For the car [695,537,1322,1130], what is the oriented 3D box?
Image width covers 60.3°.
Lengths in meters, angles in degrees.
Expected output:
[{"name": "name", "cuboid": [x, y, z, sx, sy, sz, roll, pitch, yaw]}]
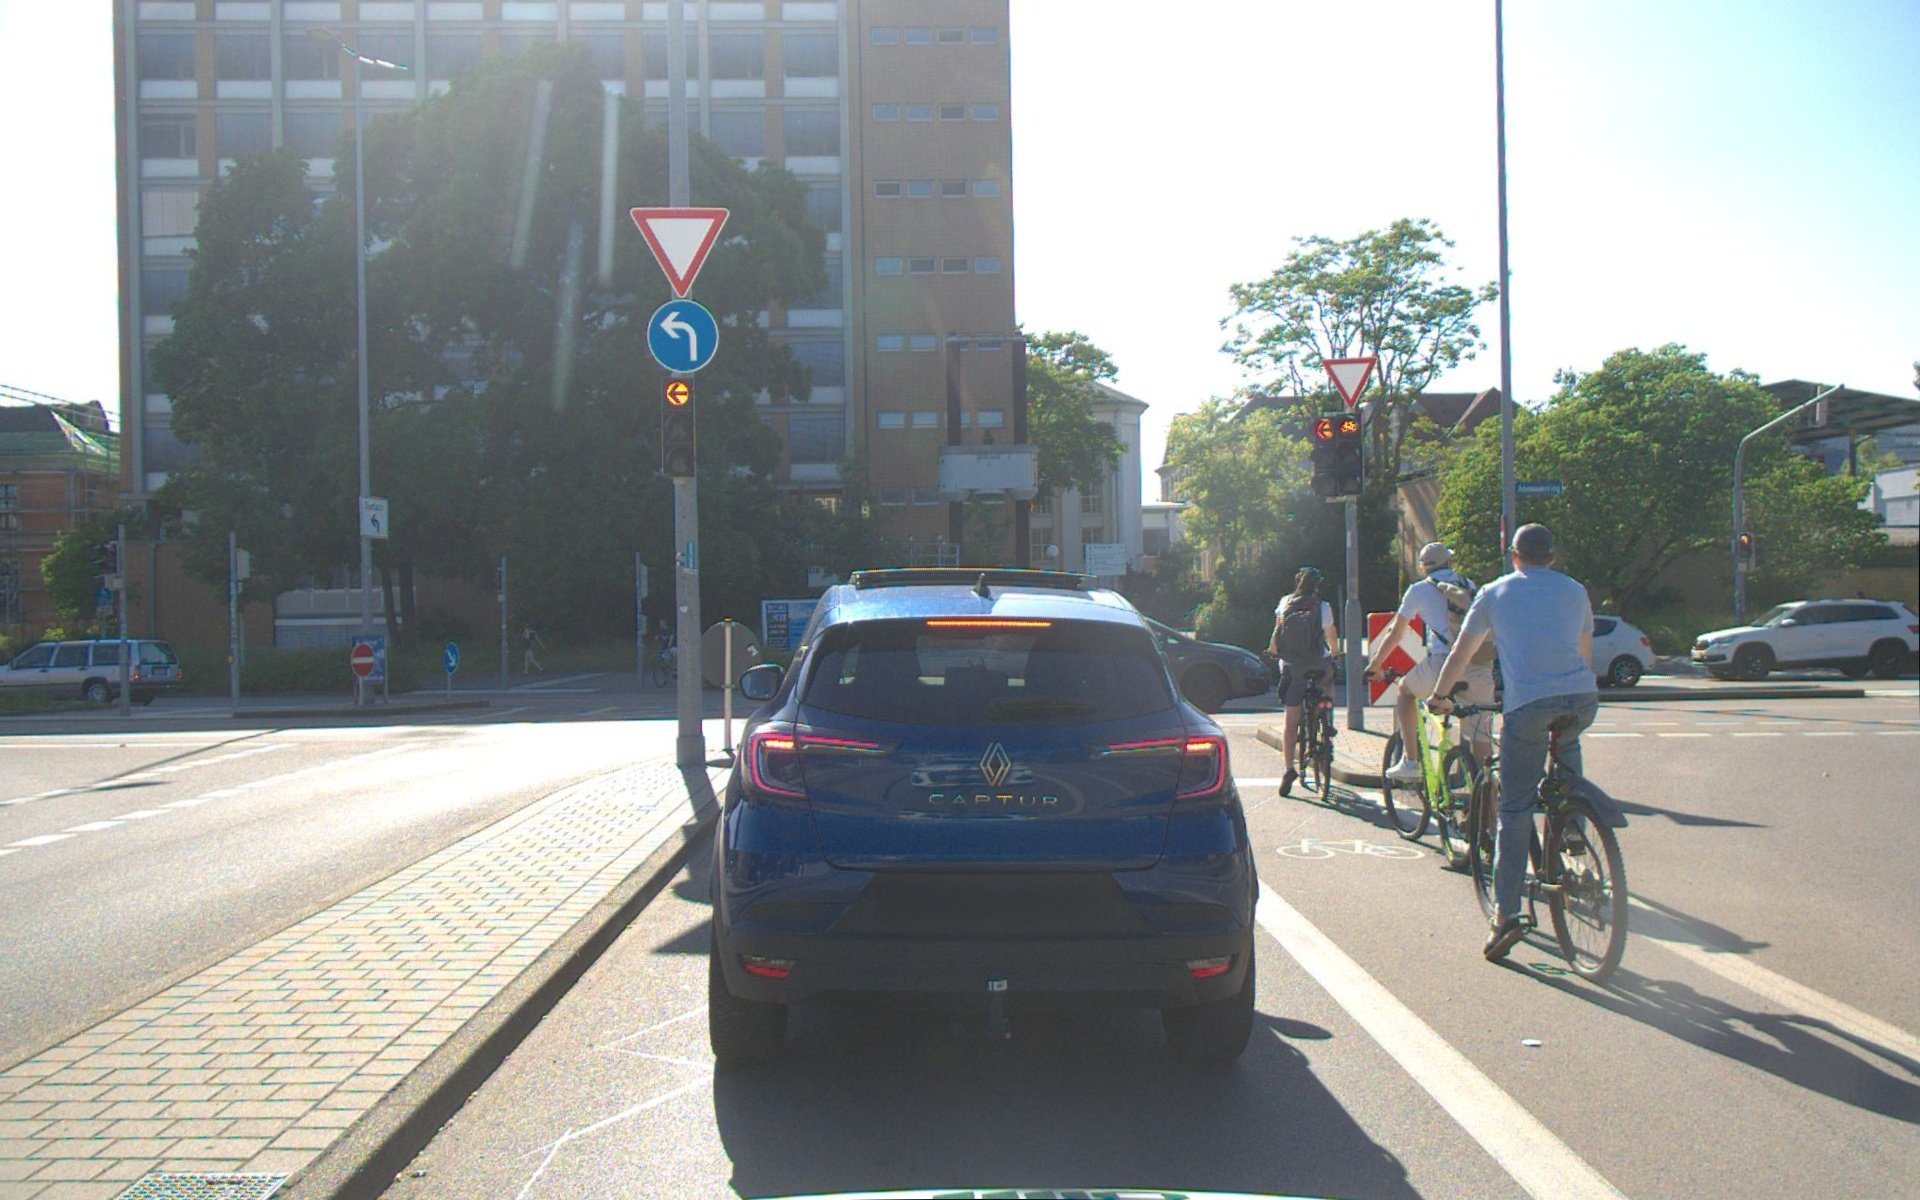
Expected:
[{"name": "car", "cuboid": [0.064, 0.665, 6.685, 1.767, 1.660, 3.998, 1, 0, -3]}]

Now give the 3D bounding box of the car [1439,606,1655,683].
[{"name": "car", "cuboid": [11.712, 0.882, 33.208, 3.755, 1.460, 1.744, -1, 0, 5]}]

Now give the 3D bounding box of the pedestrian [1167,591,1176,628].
[{"name": "pedestrian", "cuboid": [11.833, 0.536, 92.565, 0.465, 2.049, 0.468, -1, 0, 5]}]

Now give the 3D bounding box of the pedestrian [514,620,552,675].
[{"name": "pedestrian", "cuboid": [-12.819, 1.424, 49.621, 0.842, 1.598, 0.560, -4, 0, 14]}]

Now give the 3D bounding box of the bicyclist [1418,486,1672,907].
[{"name": "bicyclist", "cuboid": [2.517, 0.392, 7.223, 0.736, 1.698, 1.016, 1, 0, 0]}]

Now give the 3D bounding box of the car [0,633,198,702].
[{"name": "car", "cuboid": [-19.924, 1.513, 37.164, 4.780, 1.413, 1.845, -1, 0, 6]}]

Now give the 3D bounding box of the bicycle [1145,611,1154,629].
[{"name": "bicycle", "cuboid": [10.800, 1.141, 94.225, 0.397, 0.990, 1.684, 1, 0, 3]}]

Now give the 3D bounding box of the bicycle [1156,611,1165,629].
[{"name": "bicycle", "cuboid": [11.410, 1.152, 94.191, 0.397, 0.990, 1.684, 1, 0, 3]}]

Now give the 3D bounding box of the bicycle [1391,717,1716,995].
[{"name": "bicycle", "cuboid": [2.510, 1.039, 7.260, 0.725, 0.911, 1.978, 1, 0, 0]}]

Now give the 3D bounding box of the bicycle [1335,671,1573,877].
[{"name": "bicycle", "cuboid": [2.874, 0.975, 9.847, 0.646, 1.020, 1.967, 1, 0, -6]}]

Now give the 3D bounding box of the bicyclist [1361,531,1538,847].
[{"name": "bicyclist", "cuboid": [2.886, 0.507, 9.844, 0.633, 1.769, 1.065, 1, 0, -6]}]

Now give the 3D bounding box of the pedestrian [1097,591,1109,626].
[{"name": "pedestrian", "cuboid": [7.963, 0.474, 92.009, 0.599, 1.888, 0.467, -1, 0, 5]}]

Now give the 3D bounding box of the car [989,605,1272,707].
[{"name": "car", "cuboid": [2.526, 0.858, 24.307, 3.970, 1.413, 1.845, -1, -4, 9]}]

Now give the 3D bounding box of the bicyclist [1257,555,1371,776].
[{"name": "bicyclist", "cuboid": [2.763, 0.498, 12.978, 0.711, 1.657, 0.969, 1, 0, 3]}]

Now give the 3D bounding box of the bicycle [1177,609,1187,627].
[{"name": "bicycle", "cuboid": [12.686, 1.029, 94.592, 0.397, 0.990, 1.684, 1, 0, 3]}]

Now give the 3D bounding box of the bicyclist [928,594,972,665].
[{"name": "bicyclist", "cuboid": [-0.268, 0.796, 44.805, 1.078, 1.900, 0.653, -1, 0, 10]}]

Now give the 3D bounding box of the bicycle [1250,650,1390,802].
[{"name": "bicycle", "cuboid": [2.764, 0.933, 12.926, 0.723, 1.012, 2.174, 1, 0, 3]}]

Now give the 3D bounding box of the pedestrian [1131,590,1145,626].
[{"name": "pedestrian", "cuboid": [9.364, 0.419, 87.098, 0.612, 1.888, 0.562, -1, 0, -8]}]

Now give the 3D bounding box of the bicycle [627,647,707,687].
[{"name": "bicycle", "cuboid": [-7.715, 1.761, 43.622, 1.982, 0.981, 0.593, -1, 0, -28]}]

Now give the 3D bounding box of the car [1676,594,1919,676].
[{"name": "car", "cuboid": [18.225, 0.741, 35.696, 4.721, 1.660, 1.845, -1, 0, 6]}]

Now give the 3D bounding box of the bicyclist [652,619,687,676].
[{"name": "bicyclist", "cuboid": [-7.667, 1.237, 43.649, 0.728, 1.466, 0.593, -1, 0, -27]}]

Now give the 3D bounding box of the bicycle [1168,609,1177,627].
[{"name": "bicycle", "cuboid": [12.161, 1.020, 94.570, 0.397, 0.990, 1.684, 1, 0, 3]}]

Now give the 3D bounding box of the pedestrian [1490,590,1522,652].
[{"name": "pedestrian", "cuboid": [14.622, 0.565, 44.314, 0.721, 1.631, 0.599, -1, 0, 12]}]
